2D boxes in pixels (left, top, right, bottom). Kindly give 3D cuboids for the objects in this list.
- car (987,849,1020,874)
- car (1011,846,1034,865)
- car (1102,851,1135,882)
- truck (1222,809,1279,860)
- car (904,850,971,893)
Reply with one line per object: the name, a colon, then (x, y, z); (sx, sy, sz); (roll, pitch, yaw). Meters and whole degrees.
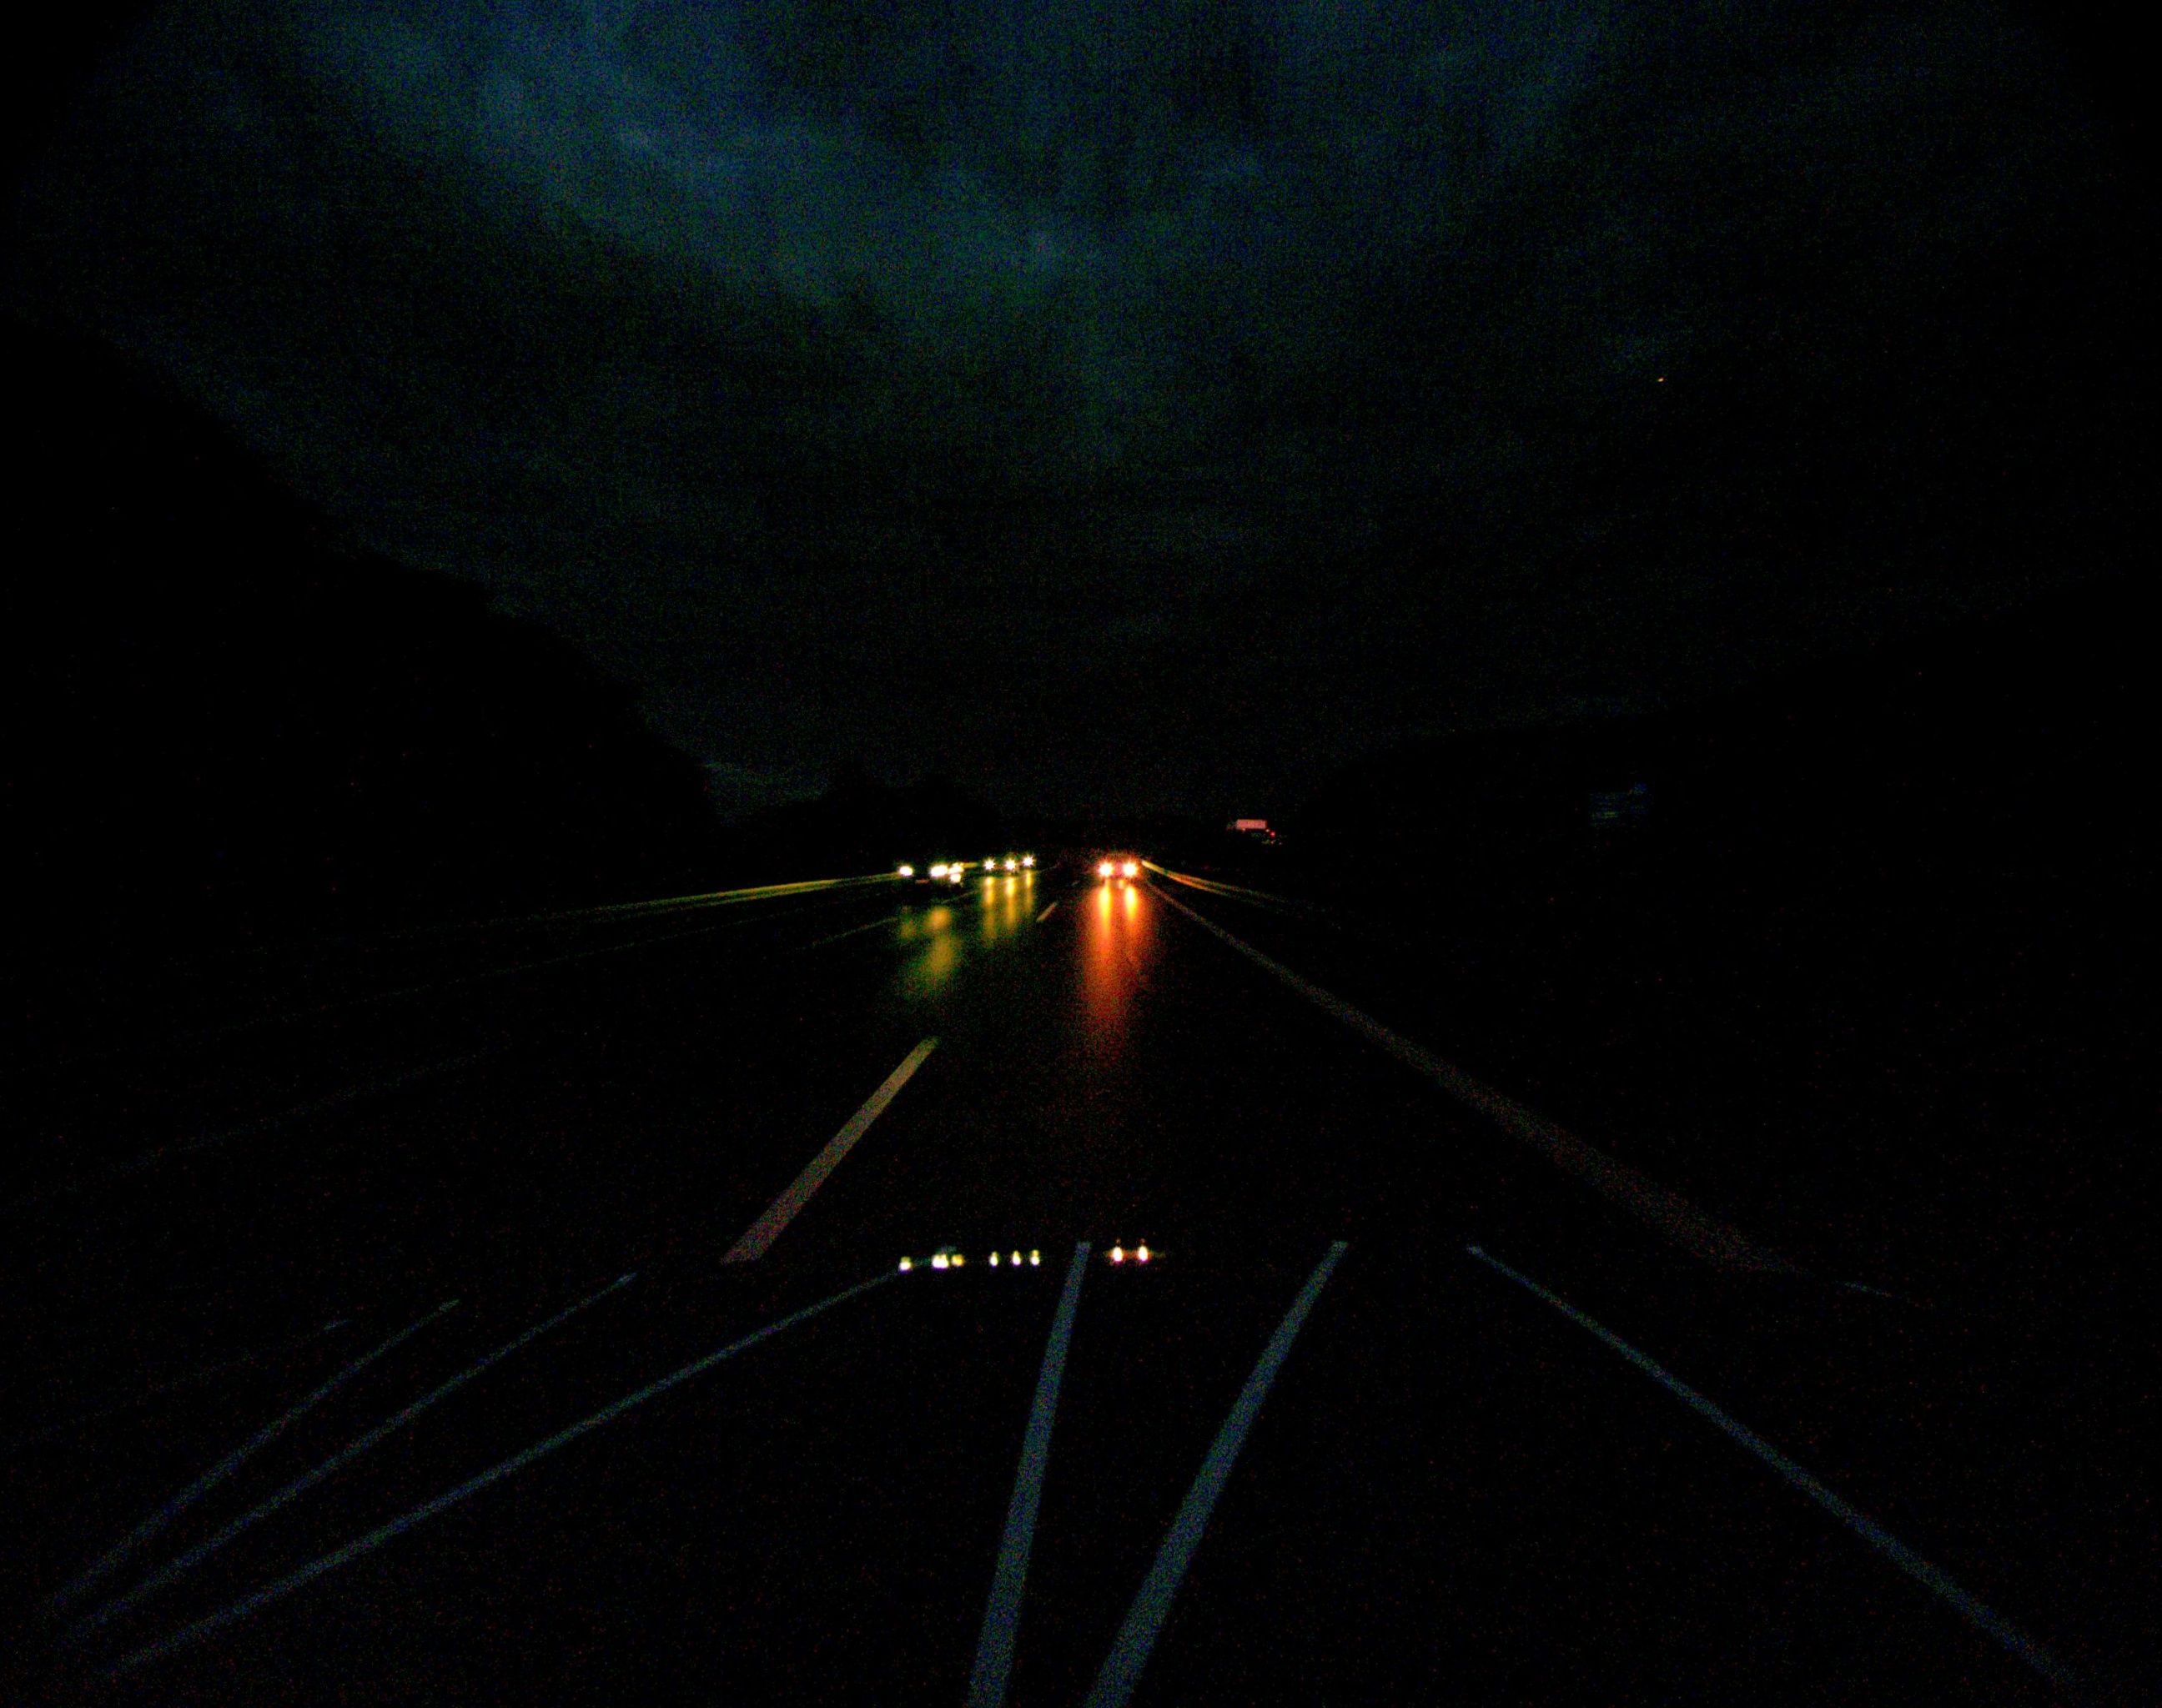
car: (-5.193, 0.472, 51.675); (1.803, 1.483, 5.115); (-2, 1, -2)
car: (-5.184, 0.109, 67.620); (1.803, 1.483, 4.434); (-3, 1, -2)
car: (1.989, 0.649, 41.109); (1.669, 1.551, 3.756); (-1, 1, 1)
truck: (15.442, -1.777, 69.943); (3.046, 4.277, 9.889); (-1, 1, 1)
car: (-5.909, 0.659, 31.808); (1.802, 1.636, 5.159); (0, 1, 0)
